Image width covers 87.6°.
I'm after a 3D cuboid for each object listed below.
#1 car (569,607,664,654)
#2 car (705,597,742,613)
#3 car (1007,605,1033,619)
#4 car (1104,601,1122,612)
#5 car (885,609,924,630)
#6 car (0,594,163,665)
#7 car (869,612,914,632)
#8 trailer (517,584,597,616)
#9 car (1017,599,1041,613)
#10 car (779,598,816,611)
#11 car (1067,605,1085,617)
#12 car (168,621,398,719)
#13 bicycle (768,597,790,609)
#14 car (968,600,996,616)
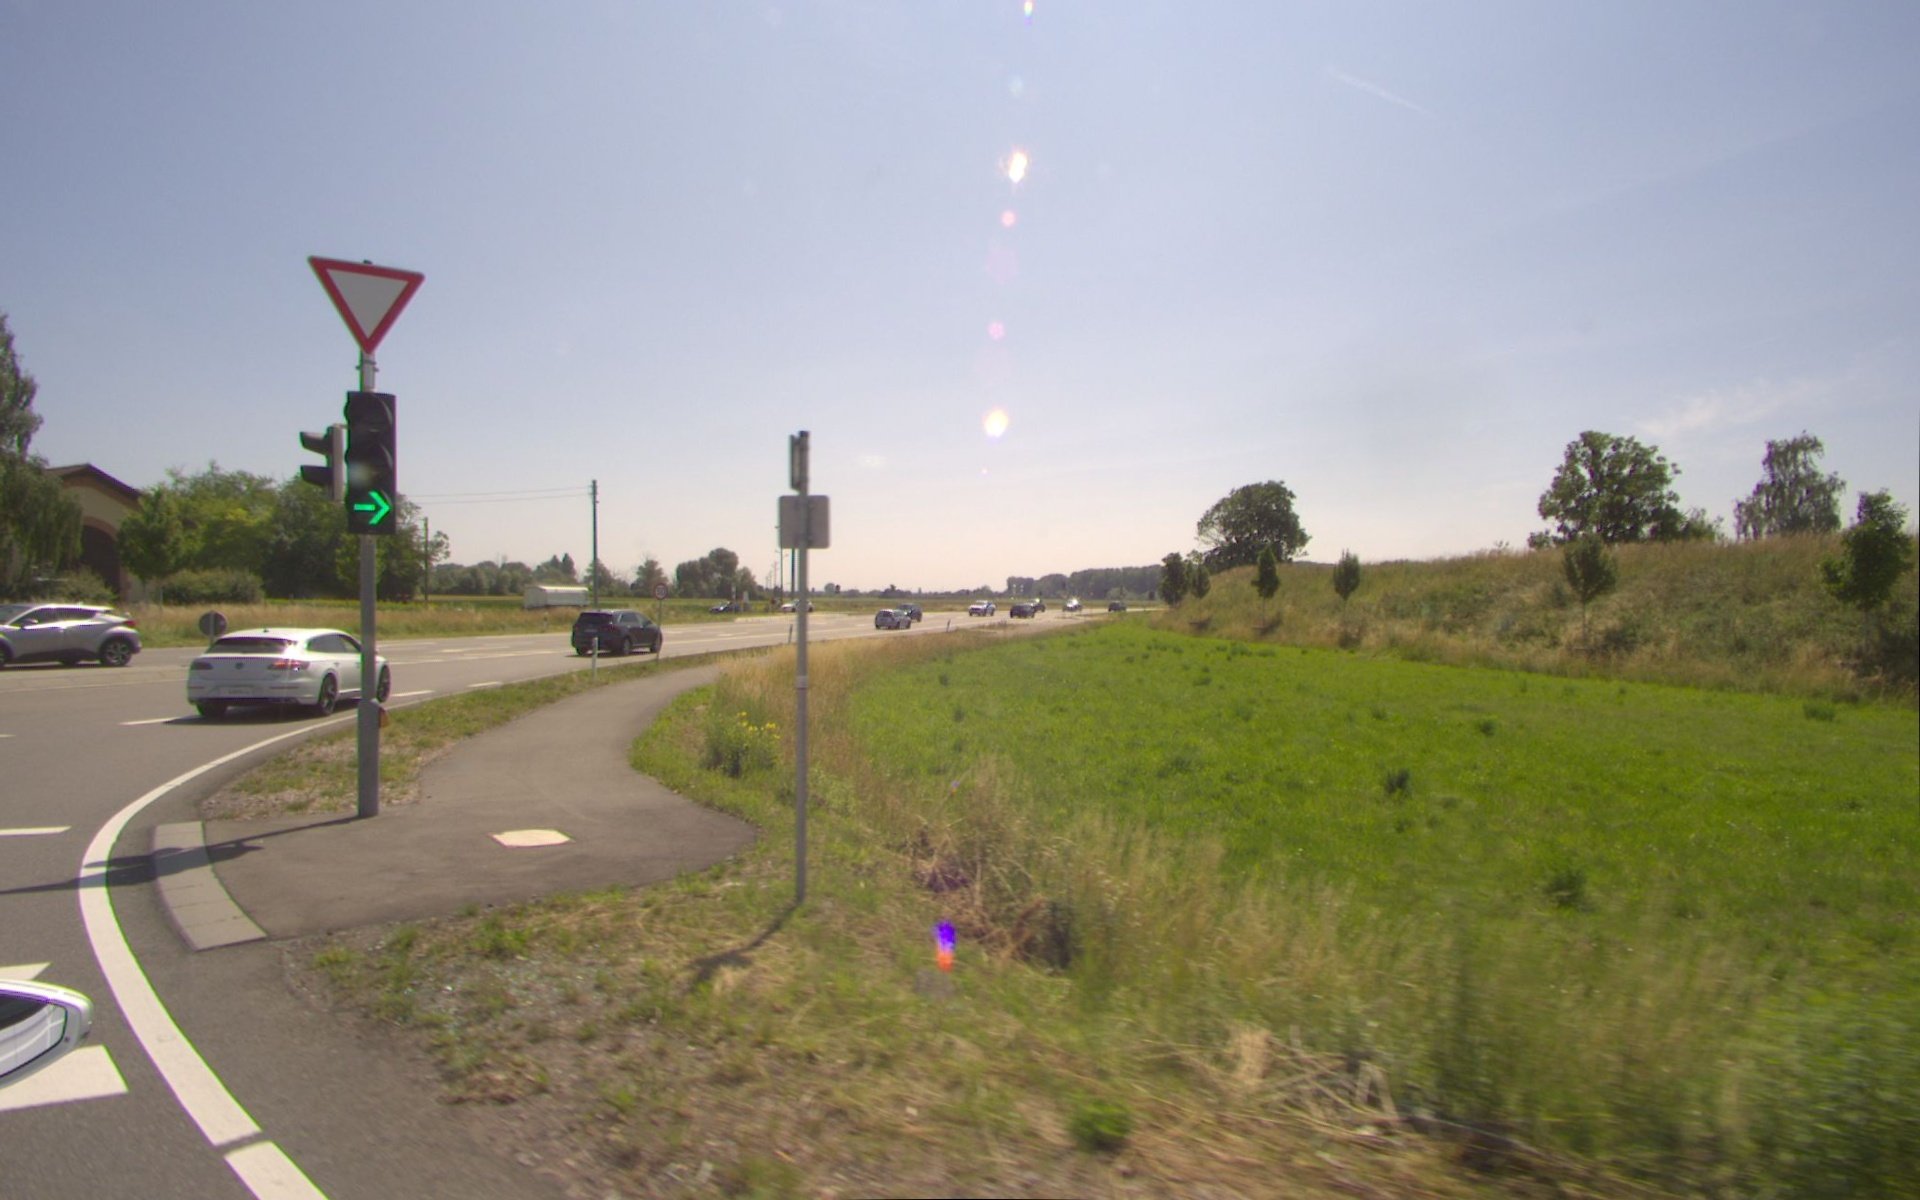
[{"bbox_3d":[-12.917,1.145,37.933,1.903,1.637,4.380,0,-1,3],"label":"car"},{"bbox_3d":[-23.805,0.519,100.829,1.650,1.405,3.830,2,0,22],"label":"car"},{"bbox_3d":[6.570,1.322,108.916,1.773,1.495,4.409,0,-1,17],"label":"car"},{"bbox_3d":[22.289,1.011,145.836,1.774,1.541,3.875,-1,-1,20],"label":"car"},{"bbox_3d":[-4.825,1.668,87.652,1.839,1.672,4.318,2,1,20],"label":"car"},{"bbox_3d":[-21.808,0.672,23.555,1.837,1.563,4.548,2,-1,15],"label":"car"},{"bbox_3d":[-4.996,1.657,74.020,1.774,1.447,4.085,0,-1,21],"label":"car"},{"bbox_3d":[-33.231,-0.024,82.859,2.638,2.489,6.371,2,1,19],"label":"trailer"},{"bbox_3d":[8.980,0.774,130.452,2.049,1.747,4.408,0,-1,18],"label":"car"},{"bbox_3d":[-18.388,0.514,113.339,1.677,1.350,4.004,3,0,42],"label":"car"},{"bbox_3d":[16.268,1.501,140.397,1.707,1.576,4.408,0,-1,18],"label":"car"},{"bbox_3d":[-11.573,1.123,17.536,1.820,1.452,4.603,2,-1,-14],"label":"car"},{"bbox_3d":[-22.549,0.379,124.636,2.566,1.389,0.902,0,-1,4],"label":"bicycle"},{"bbox_3d":[2.471,0.880,110.964,1.850,1.672,4.836,3,0,17],"label":"car"}]
